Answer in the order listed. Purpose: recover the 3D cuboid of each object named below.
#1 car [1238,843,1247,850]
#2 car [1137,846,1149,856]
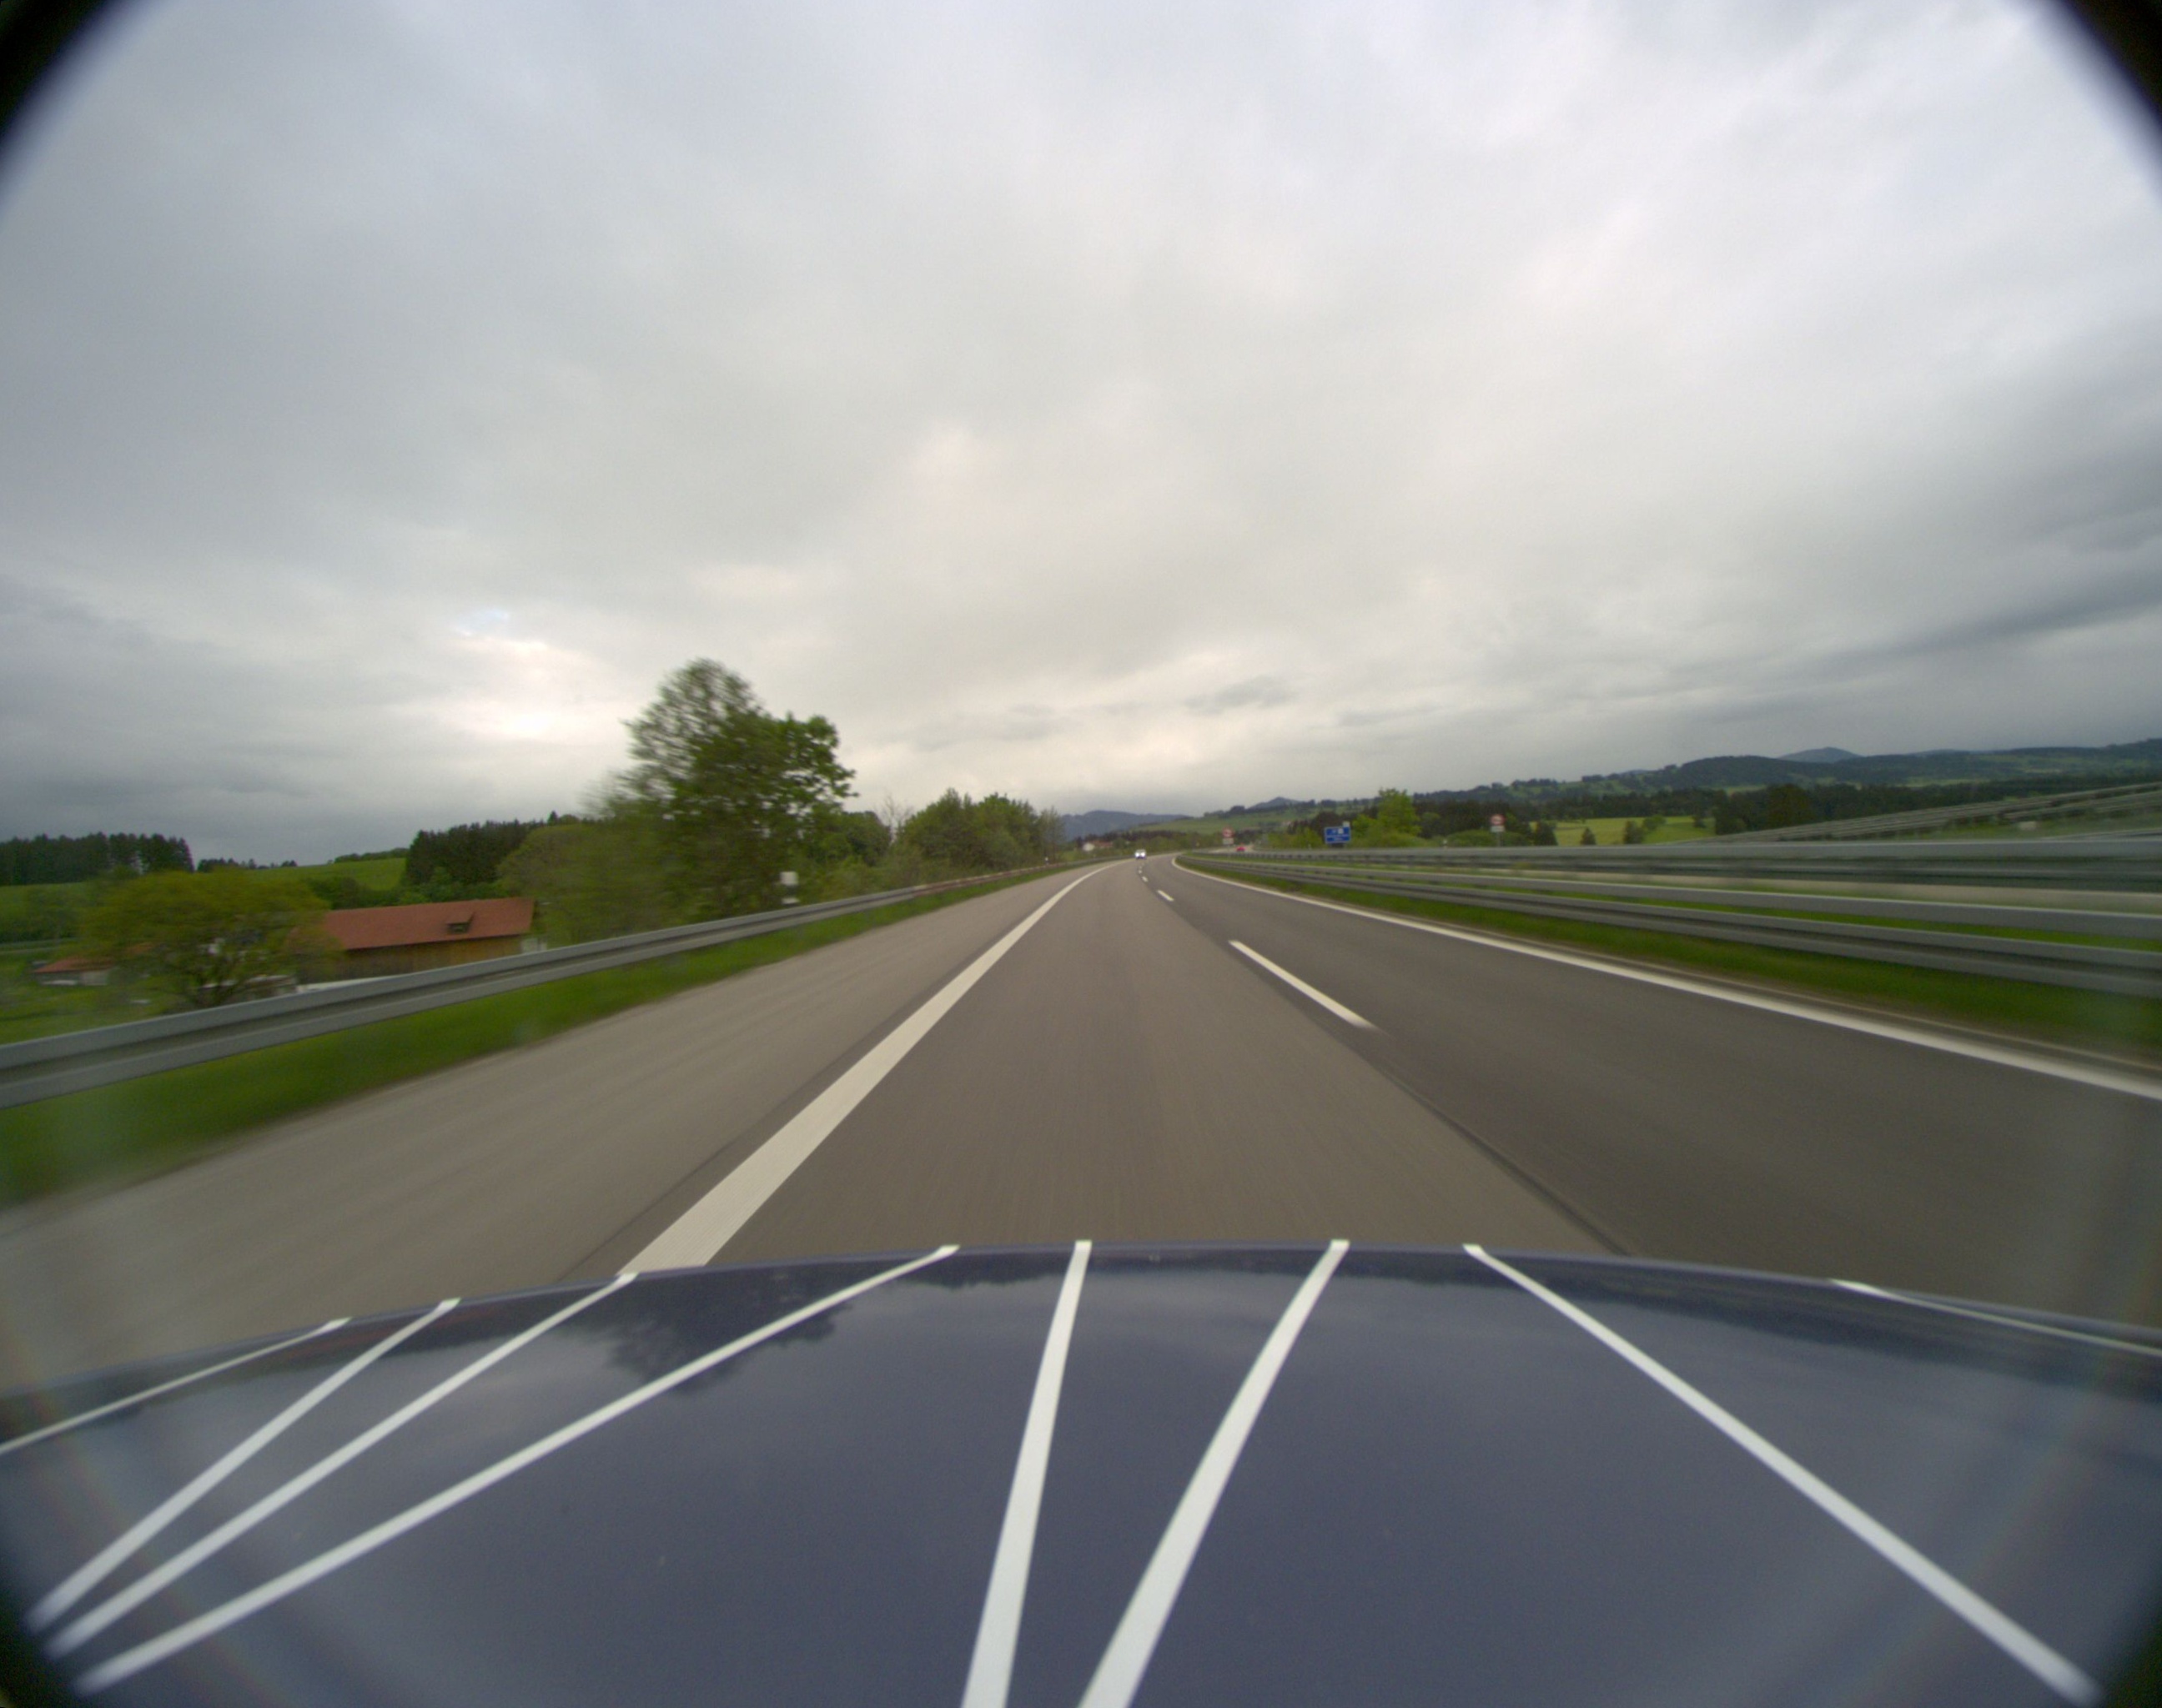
[{"bbox_3d":[39.806,-1.944,187.596,1.997,1.489,4.154,-5,0,12],"label":"car"},{"bbox_3d":[12.374,-0.550,151.477,2.020,1.899,4.222,-2,0,6],"label":"car"}]
